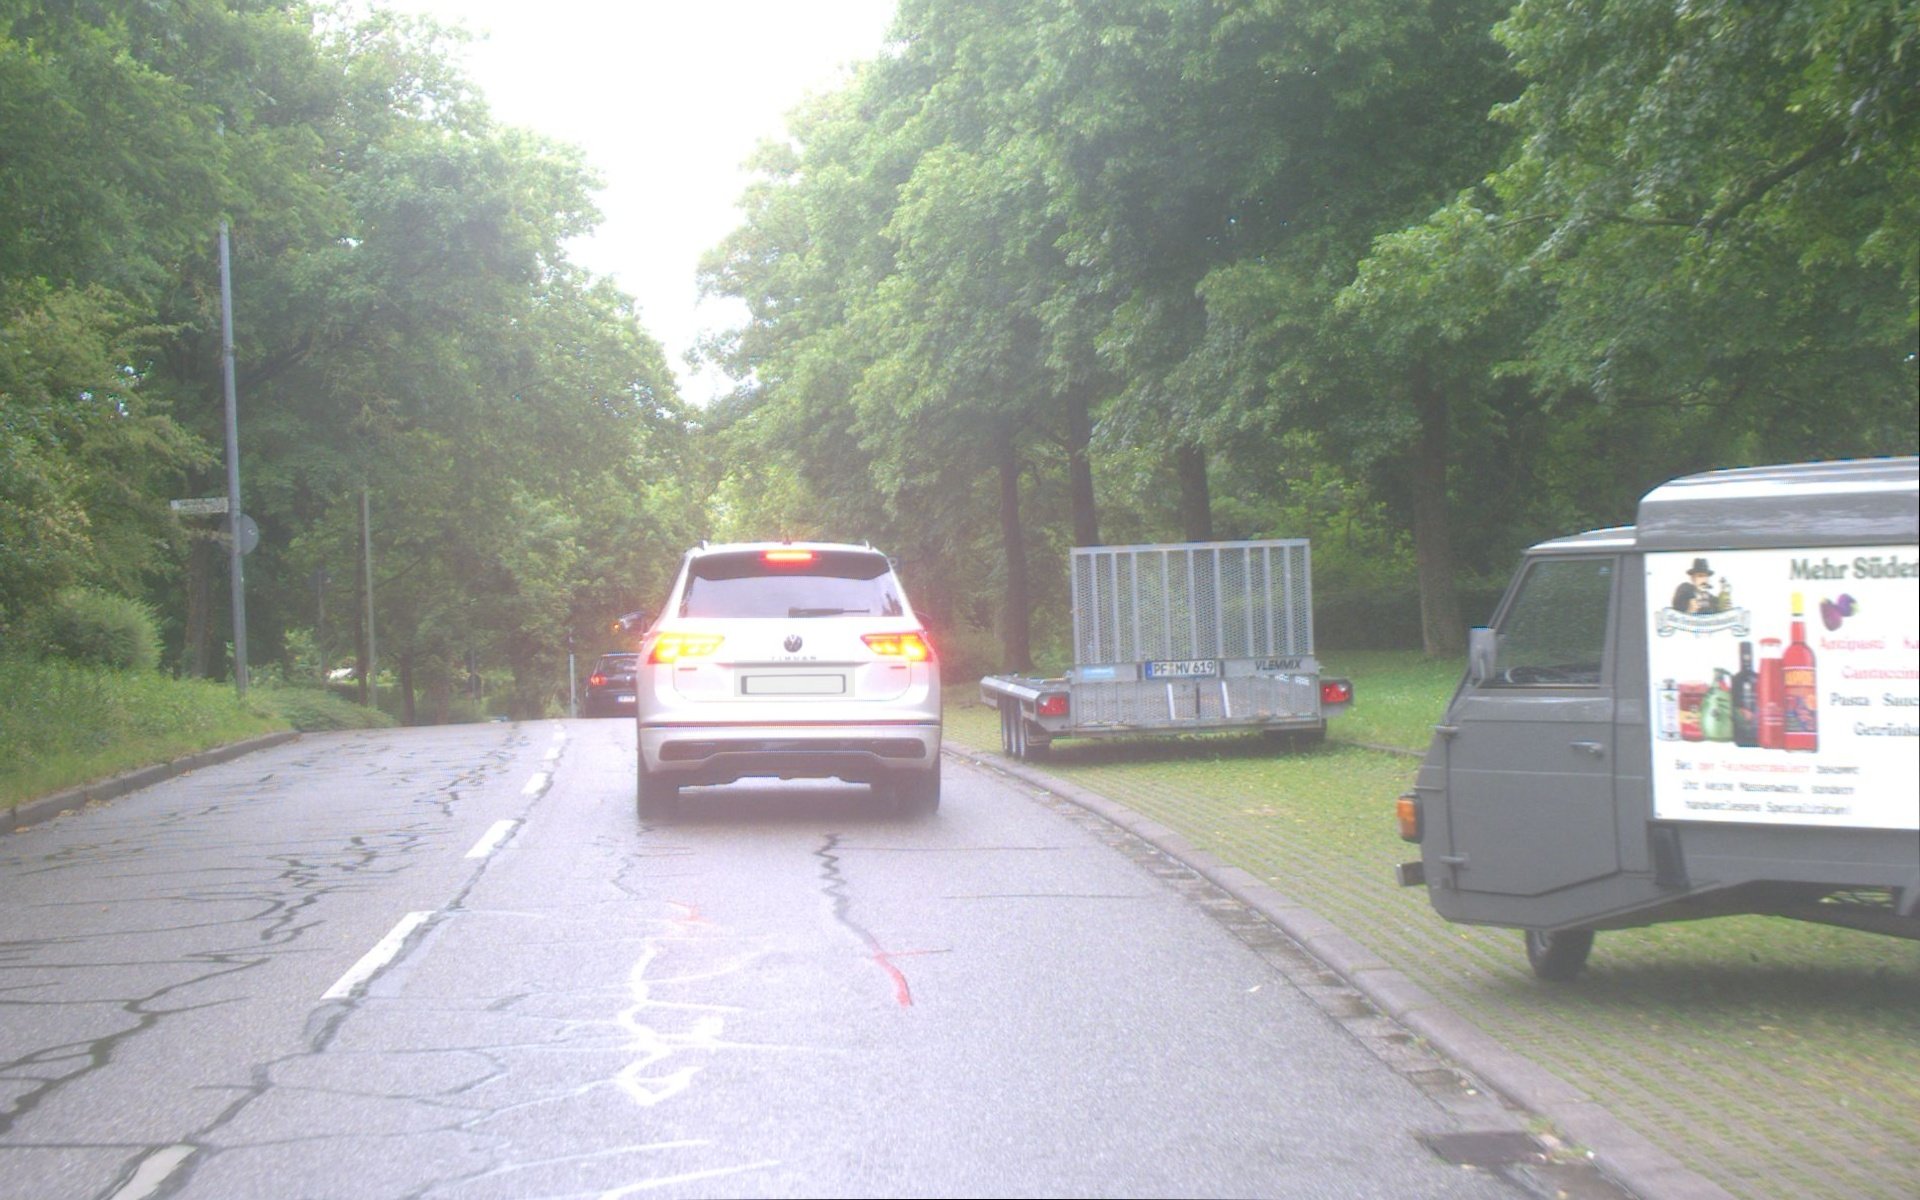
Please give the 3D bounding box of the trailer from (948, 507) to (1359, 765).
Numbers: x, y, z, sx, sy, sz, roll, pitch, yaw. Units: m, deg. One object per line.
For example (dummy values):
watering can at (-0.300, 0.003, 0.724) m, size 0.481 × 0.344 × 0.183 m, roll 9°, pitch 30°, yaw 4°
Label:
trailer at (1.422, 0.300, 28.239) m, size 2.449 × 1.806 × 5.892 m, roll -2°, pitch -1°, yaw -5°

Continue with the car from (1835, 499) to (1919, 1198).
car at (3.019, 0.547, 5.631) m, size 1.993 × 1.492 × 4.567 m, roll -2°, pitch 1°, yaw 0°

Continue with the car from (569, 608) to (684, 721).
car at (-6.906, 1.298, 70.893) m, size 1.993 × 2.006 × 4.002 m, roll -2°, pitch 3°, yaw -10°

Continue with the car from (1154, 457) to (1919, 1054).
car at (2.648, 0.438, 10.874) m, size 1.607 × 1.675 × 4.005 m, roll -3°, pitch 0°, yaw -43°

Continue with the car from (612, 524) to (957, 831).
car at (-1.153, 0.430, 21.733) m, size 1.905 × 1.679 × 4.201 m, roll -2°, pitch 0°, yaw -4°

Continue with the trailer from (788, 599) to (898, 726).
trailer at (-2.082, 1.111, 60.039) m, size 1.529 × 2.069 × 4.000 m, roll -3°, pitch -2°, yaw -6°
